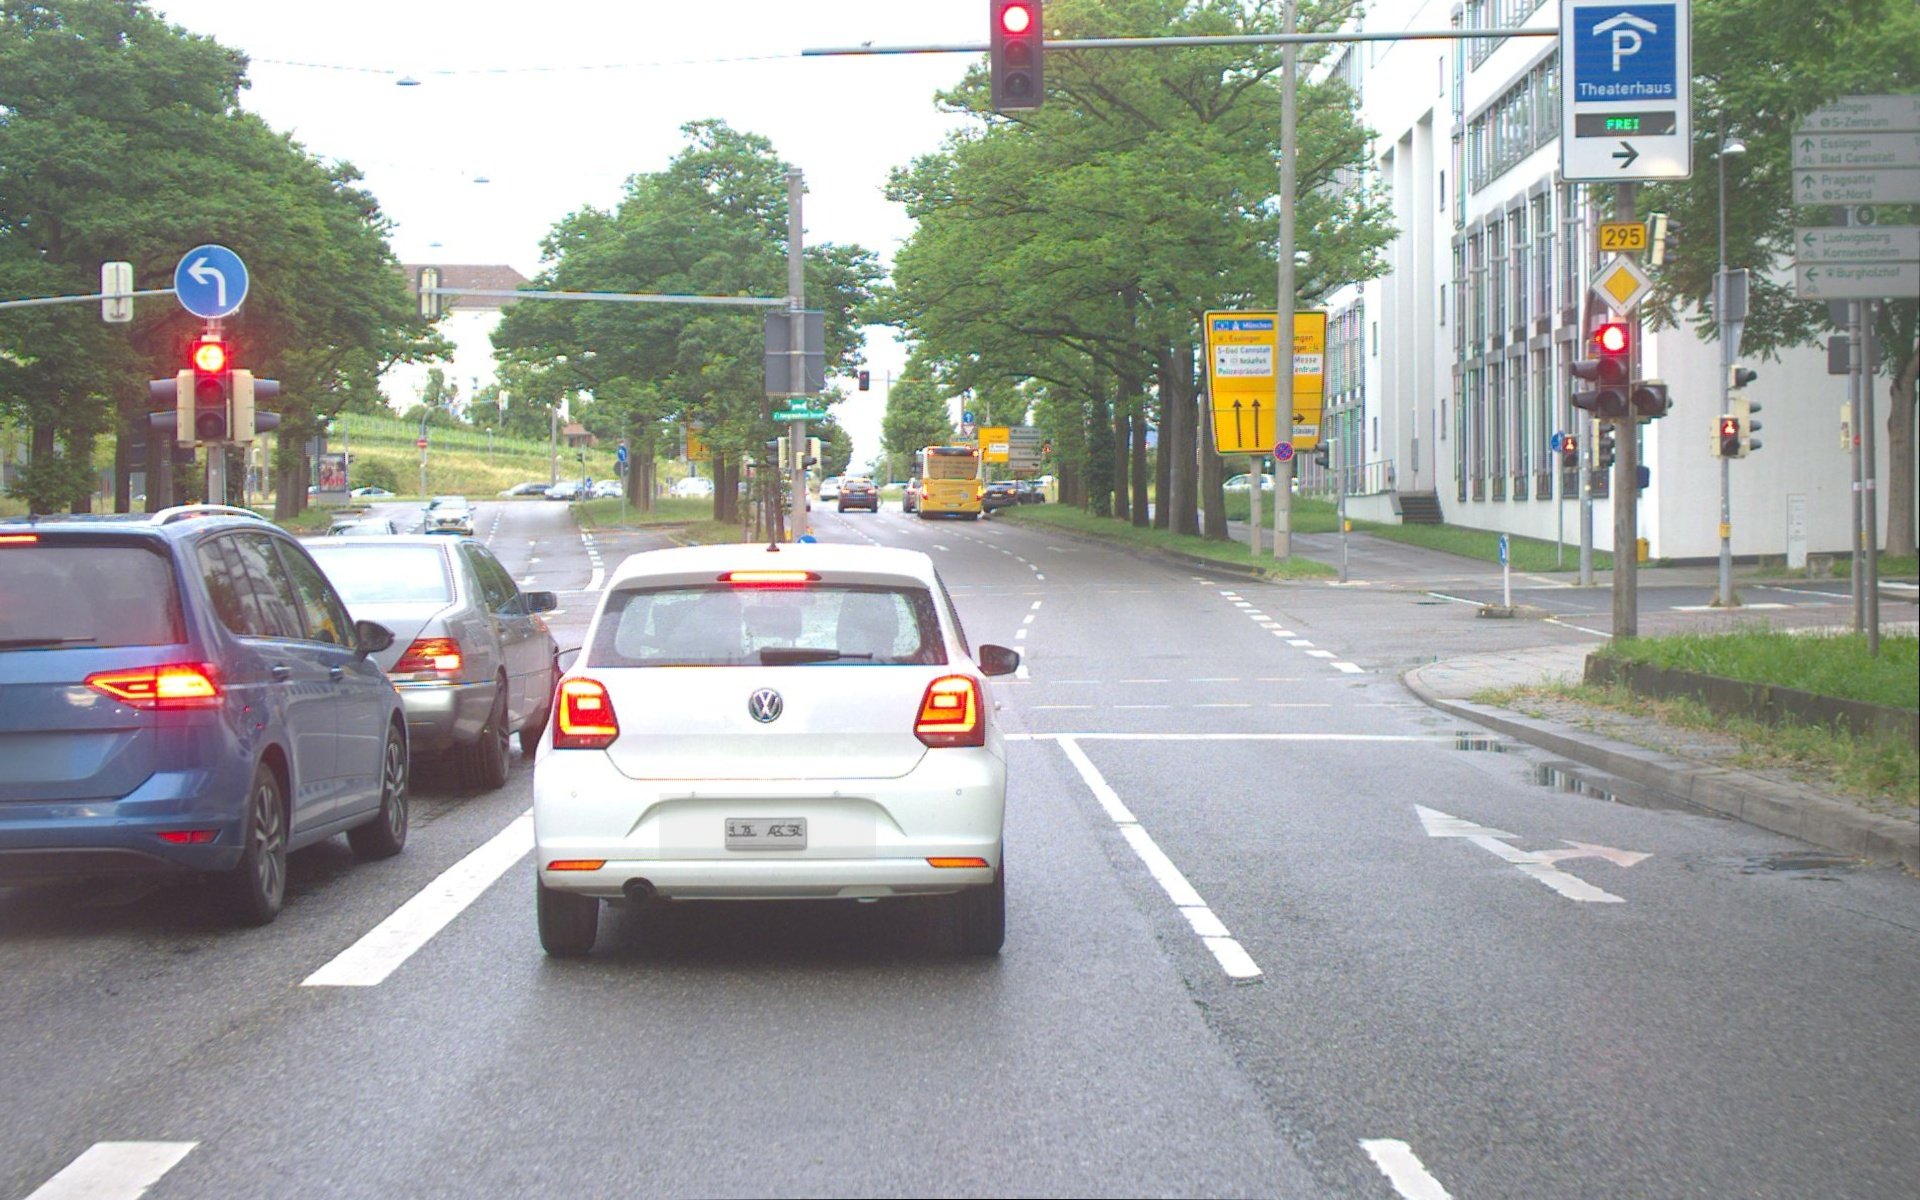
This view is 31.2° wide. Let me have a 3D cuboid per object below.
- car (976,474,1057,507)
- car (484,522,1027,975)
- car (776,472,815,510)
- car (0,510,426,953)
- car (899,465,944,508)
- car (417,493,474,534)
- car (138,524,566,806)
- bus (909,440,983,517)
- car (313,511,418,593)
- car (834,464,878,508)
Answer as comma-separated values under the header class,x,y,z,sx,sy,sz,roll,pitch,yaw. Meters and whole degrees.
class,x,y,z,sx,sy,sz,roll,pitch,yaw
car,2.656,-5.161,161.504,1.699,1.510,3.818,0,2,43
car,-0.722,0.448,13.391,1.794,1.497,4.000,0,1,-1
car,-7.827,-5.183,163.398,1.794,1.735,4.001,-2,2,-3
car,-3.525,0.436,14.560,1.772,1.591,4.197,-1,1,1
car,-1.847,-5.365,162.704,1.993,2.007,4.001,-1,1,-2
car,-19.393,-3.285,129.807,1.814,1.406,4.657,-2,2,-5
car,-3.586,0.317,20.992,1.847,1.505,4.048,-1,1,0
bus,-0.678,-5.303,149.239,2.828,3.255,10.002,0,2,-2
car,-11.982,-0.995,69.457,1.750,1.515,3.818,-2,2,-5
car,-4.917,-5.353,161.773,1.993,2.007,4.001,-1,1,-2
